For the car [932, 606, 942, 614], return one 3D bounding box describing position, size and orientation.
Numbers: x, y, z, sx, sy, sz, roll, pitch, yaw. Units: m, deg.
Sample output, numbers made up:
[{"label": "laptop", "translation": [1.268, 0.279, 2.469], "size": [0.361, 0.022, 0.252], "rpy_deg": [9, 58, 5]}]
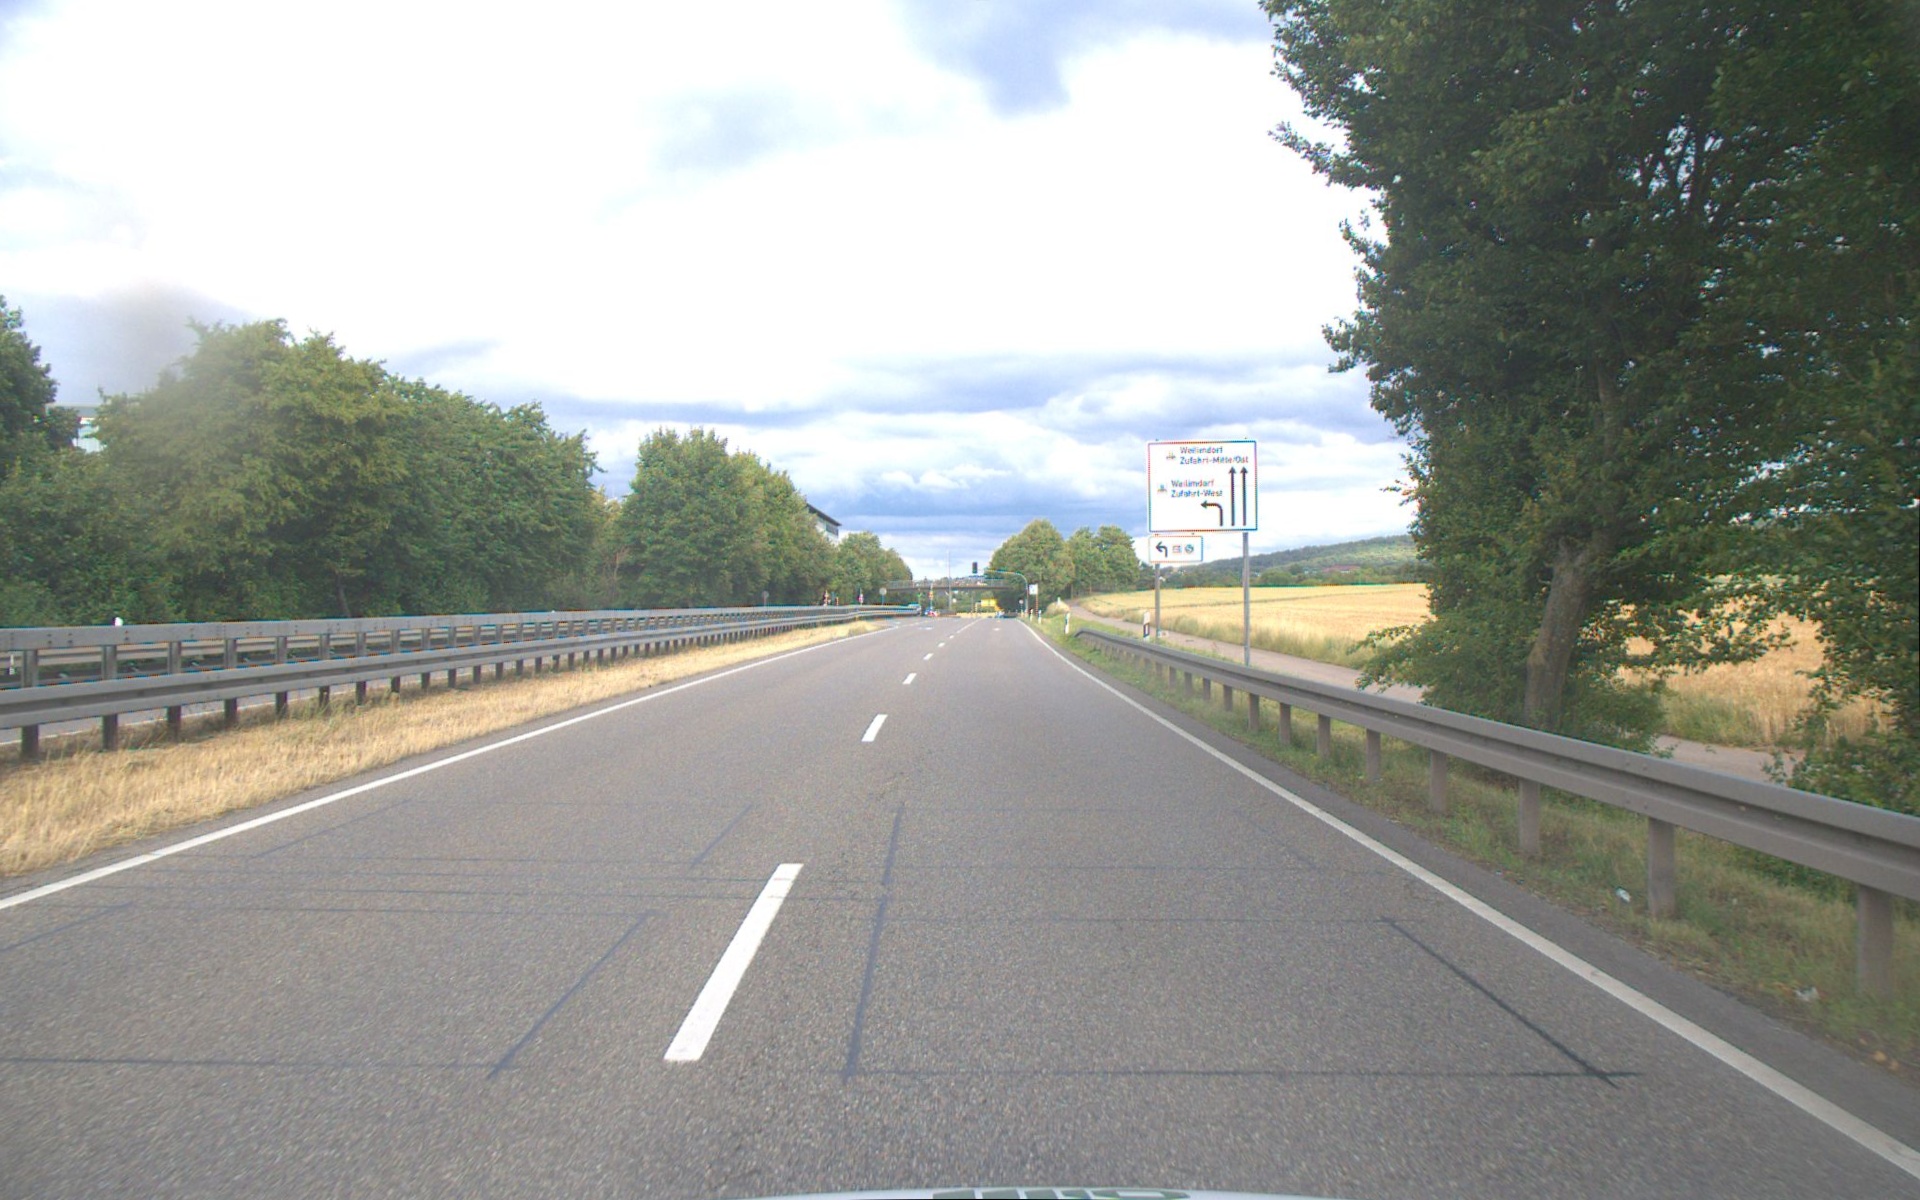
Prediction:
[{"label": "car", "translation": [-3.285, 1.491, 236.077], "size": [1.329, 1.111, 2.922], "rpy_deg": [0, 0, 2]}]
